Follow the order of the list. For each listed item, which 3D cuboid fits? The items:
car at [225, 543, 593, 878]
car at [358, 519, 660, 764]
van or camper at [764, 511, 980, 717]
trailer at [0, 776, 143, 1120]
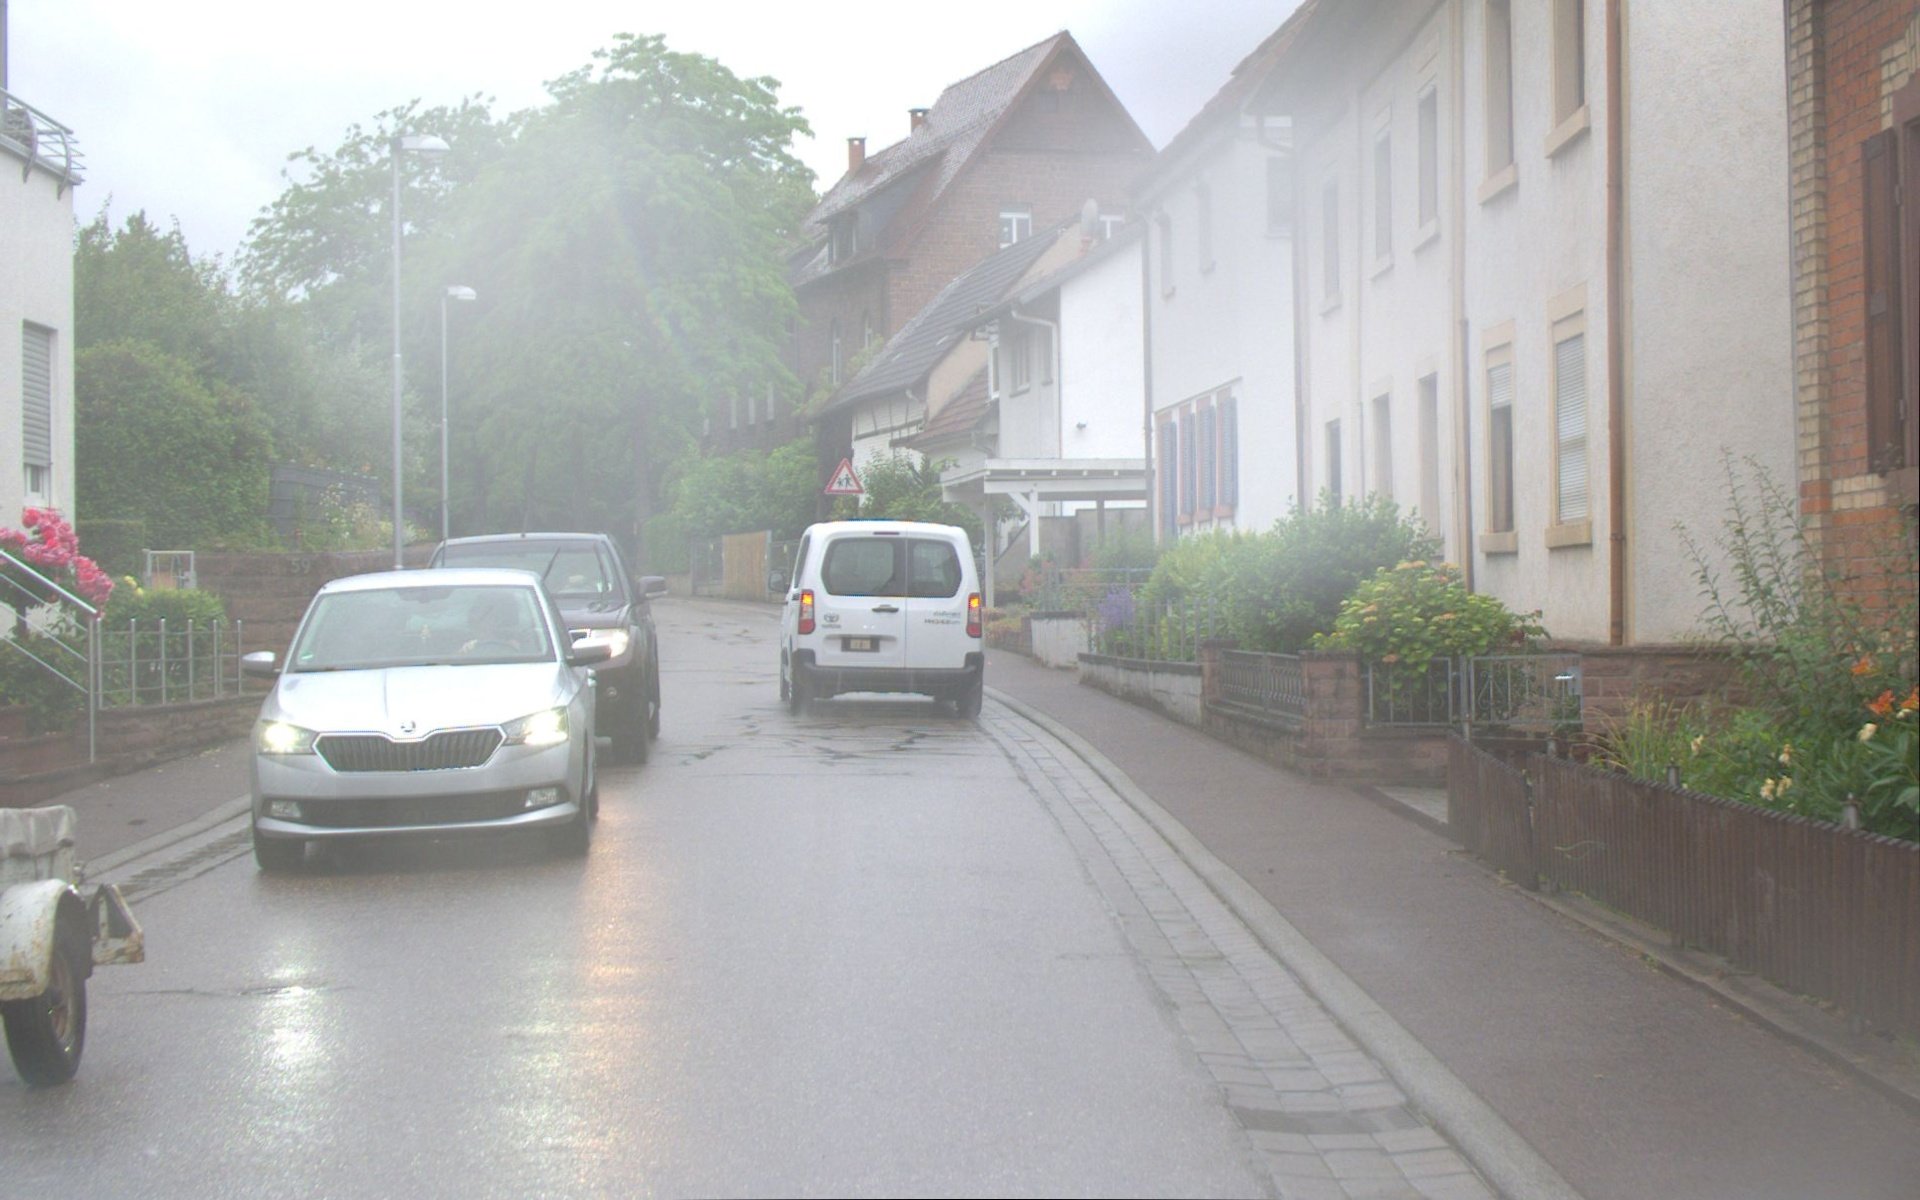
[{"bbox_3d":[-2.833,0.492,18.353,1.688,1.559,3.935,-1,1,-6],"label":"car"},{"bbox_3d":[-3.350,0.235,26.339,1.993,1.672,4.784,-1,1,-4],"label":"car"},{"bbox_3d":[-0.819,0.092,33.018,1.943,1.845,4.000,0,1,-1],"label":"van or camper"},{"bbox_3d":[-3.271,0.976,9.343,1.483,0.826,2.676,-2,0,-1],"label":"trailer"}]
